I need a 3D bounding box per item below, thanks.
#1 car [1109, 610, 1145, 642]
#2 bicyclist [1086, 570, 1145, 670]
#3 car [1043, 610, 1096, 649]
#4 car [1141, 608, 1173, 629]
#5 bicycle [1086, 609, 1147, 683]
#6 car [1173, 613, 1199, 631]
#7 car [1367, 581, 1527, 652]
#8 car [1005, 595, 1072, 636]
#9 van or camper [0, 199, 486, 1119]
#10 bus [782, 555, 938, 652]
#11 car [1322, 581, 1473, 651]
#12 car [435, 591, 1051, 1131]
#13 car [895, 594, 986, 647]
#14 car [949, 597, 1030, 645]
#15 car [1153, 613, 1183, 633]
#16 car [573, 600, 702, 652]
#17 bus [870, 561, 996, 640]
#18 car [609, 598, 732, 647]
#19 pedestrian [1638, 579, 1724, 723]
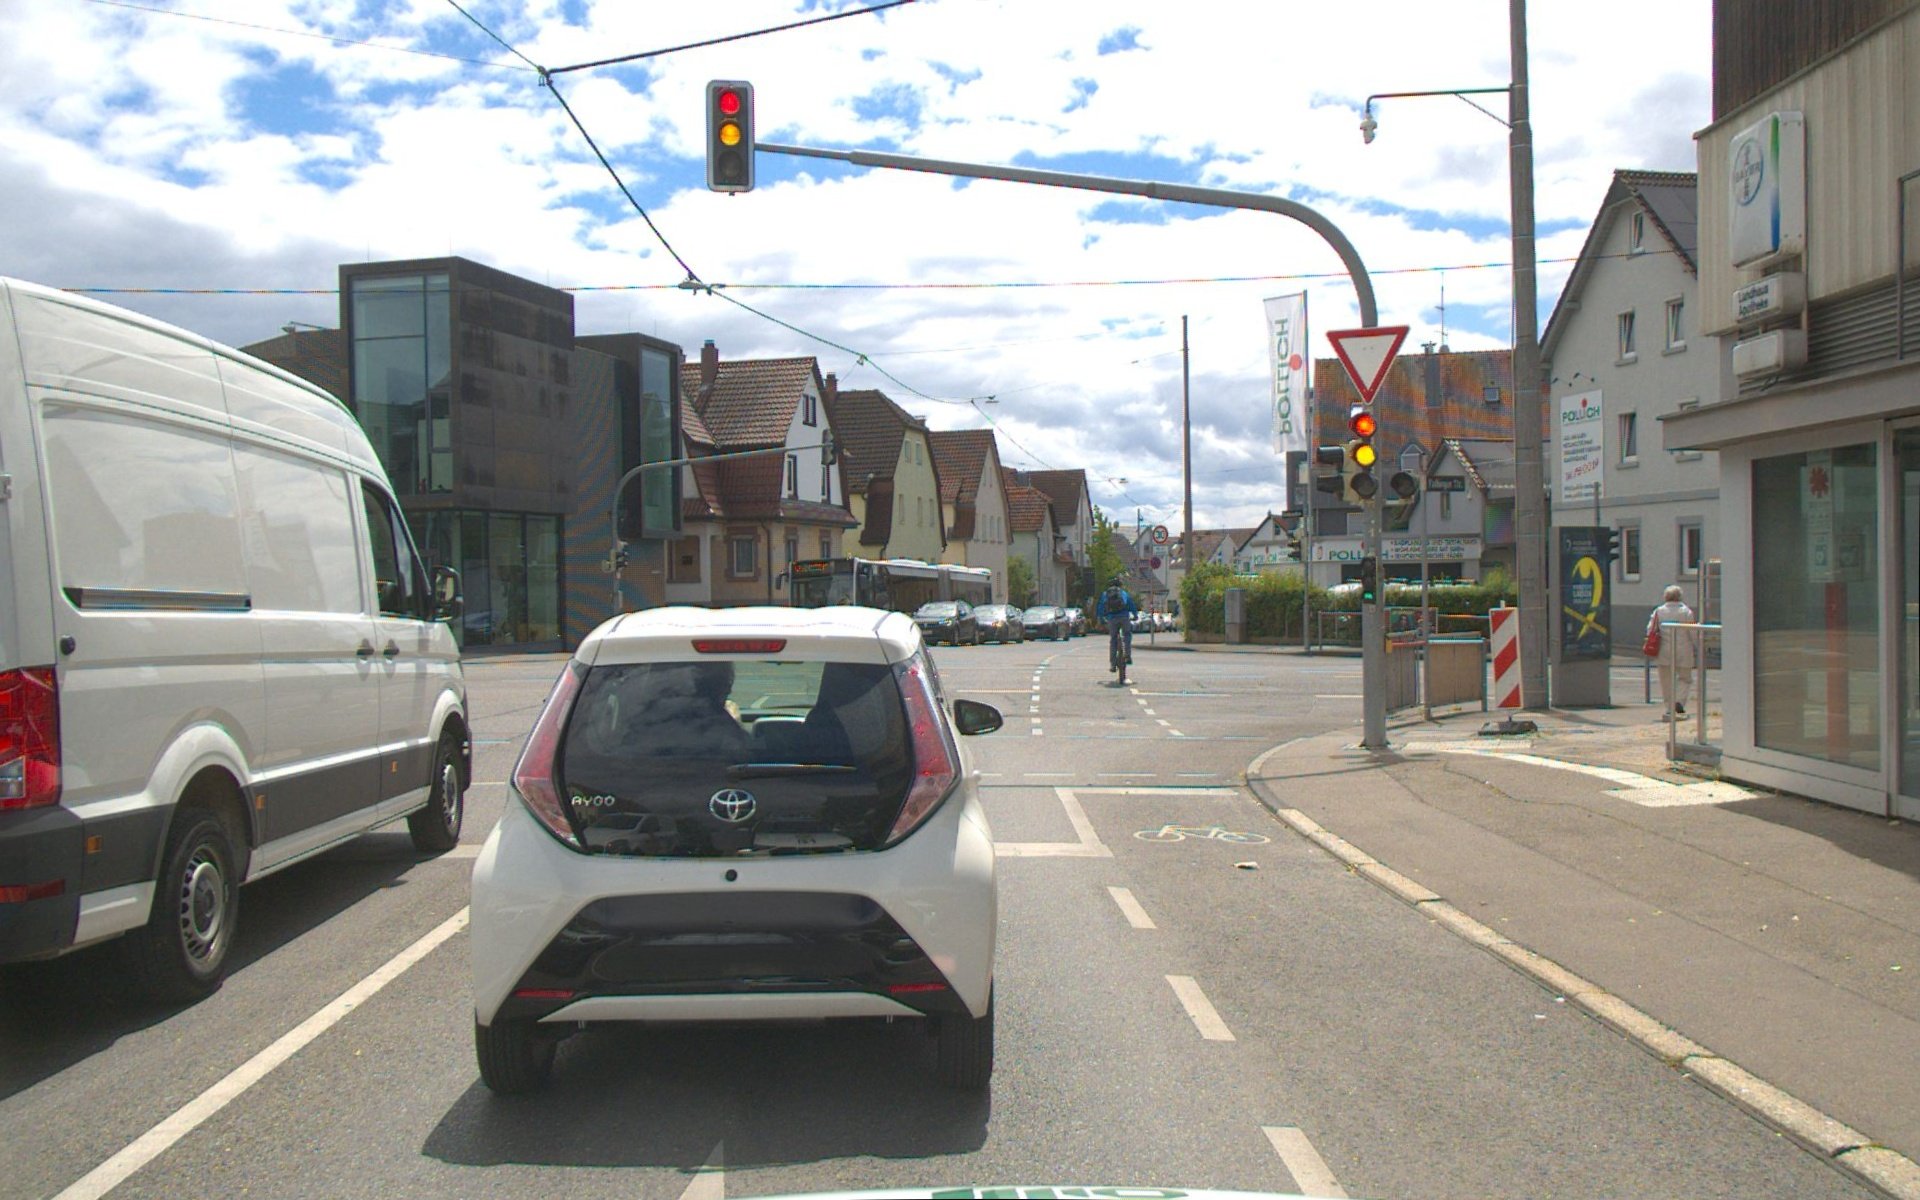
[{"bbox_3d":[11.145,1.739,110.210,1.951,2.049,4.003,0,0,12],"label":"car"},{"bbox_3d":[2.661,0.336,28.343,0.823,1.642,1.083,2,0,-1],"label":"bicyclist"},{"bbox_3d":[6.104,1.609,91.833,1.952,2.049,4.001,0,0,19],"label":"car"},{"bbox_3d":[16.202,1.531,135.818,1.951,1.668,4.002,0,0,16],"label":"car"},{"bbox_3d":[2.667,0.768,28.421,0.815,1.184,2.191,0,0,-1],"label":"bicycle"},{"bbox_3d":[22.284,2.138,162.733,1.951,1.668,4.002,0,0,16],"label":"car"},{"bbox_3d":[13.853,0.465,47.167,3.914,1.982,1.995,0,0,-10],"label":"car"},{"bbox_3d":[3.353,0.620,69.790,1.951,1.668,4.002,0,0,16],"label":"car"},{"bbox_3d":[-3.880,0.183,7.482,2.065,2.632,5.641,-2,0,-3],"label":"van or camper"},{"bbox_3d":[-3.315,0.096,57.931,2.719,3.113,9.198,0,0,15],"label":"bus"},{"bbox_3d":[13.095,0.457,49.621,3.913,2.049,1.996,0,0,-9],"label":"car"},{"bbox_3d":[-0.684,0.710,6.383,1.703,1.486,3.530,0,0,-3],"label":"car"},{"bbox_3d":[-0.610,0.650,55.205,1.951,1.668,4.002,0,0,16],"label":"car"},{"bbox_3d":[1.121,0.752,60.462,1.951,1.668,4.186,0,0,16],"label":"car"},{"bbox_3d":[17.821,1.960,141.547,1.951,1.668,4.002,0,0,16],"label":"car"},{"bbox_3d":[-11.119,0.869,57.153,3.902,1.668,2.002,1,0,13],"label":"car"},{"bbox_3d":[-0.948,-0.009,66.923,2.719,2.965,9.198,0,0,15],"label":"bus"},{"bbox_3d":[-10.479,0.805,60.037,3.902,1.713,2.002,-1,0,13],"label":"car"},{"bbox_3d":[8.556,0.591,19.659,0.816,1.666,0.874,0,0,16],"label":"pedestrian"}]
